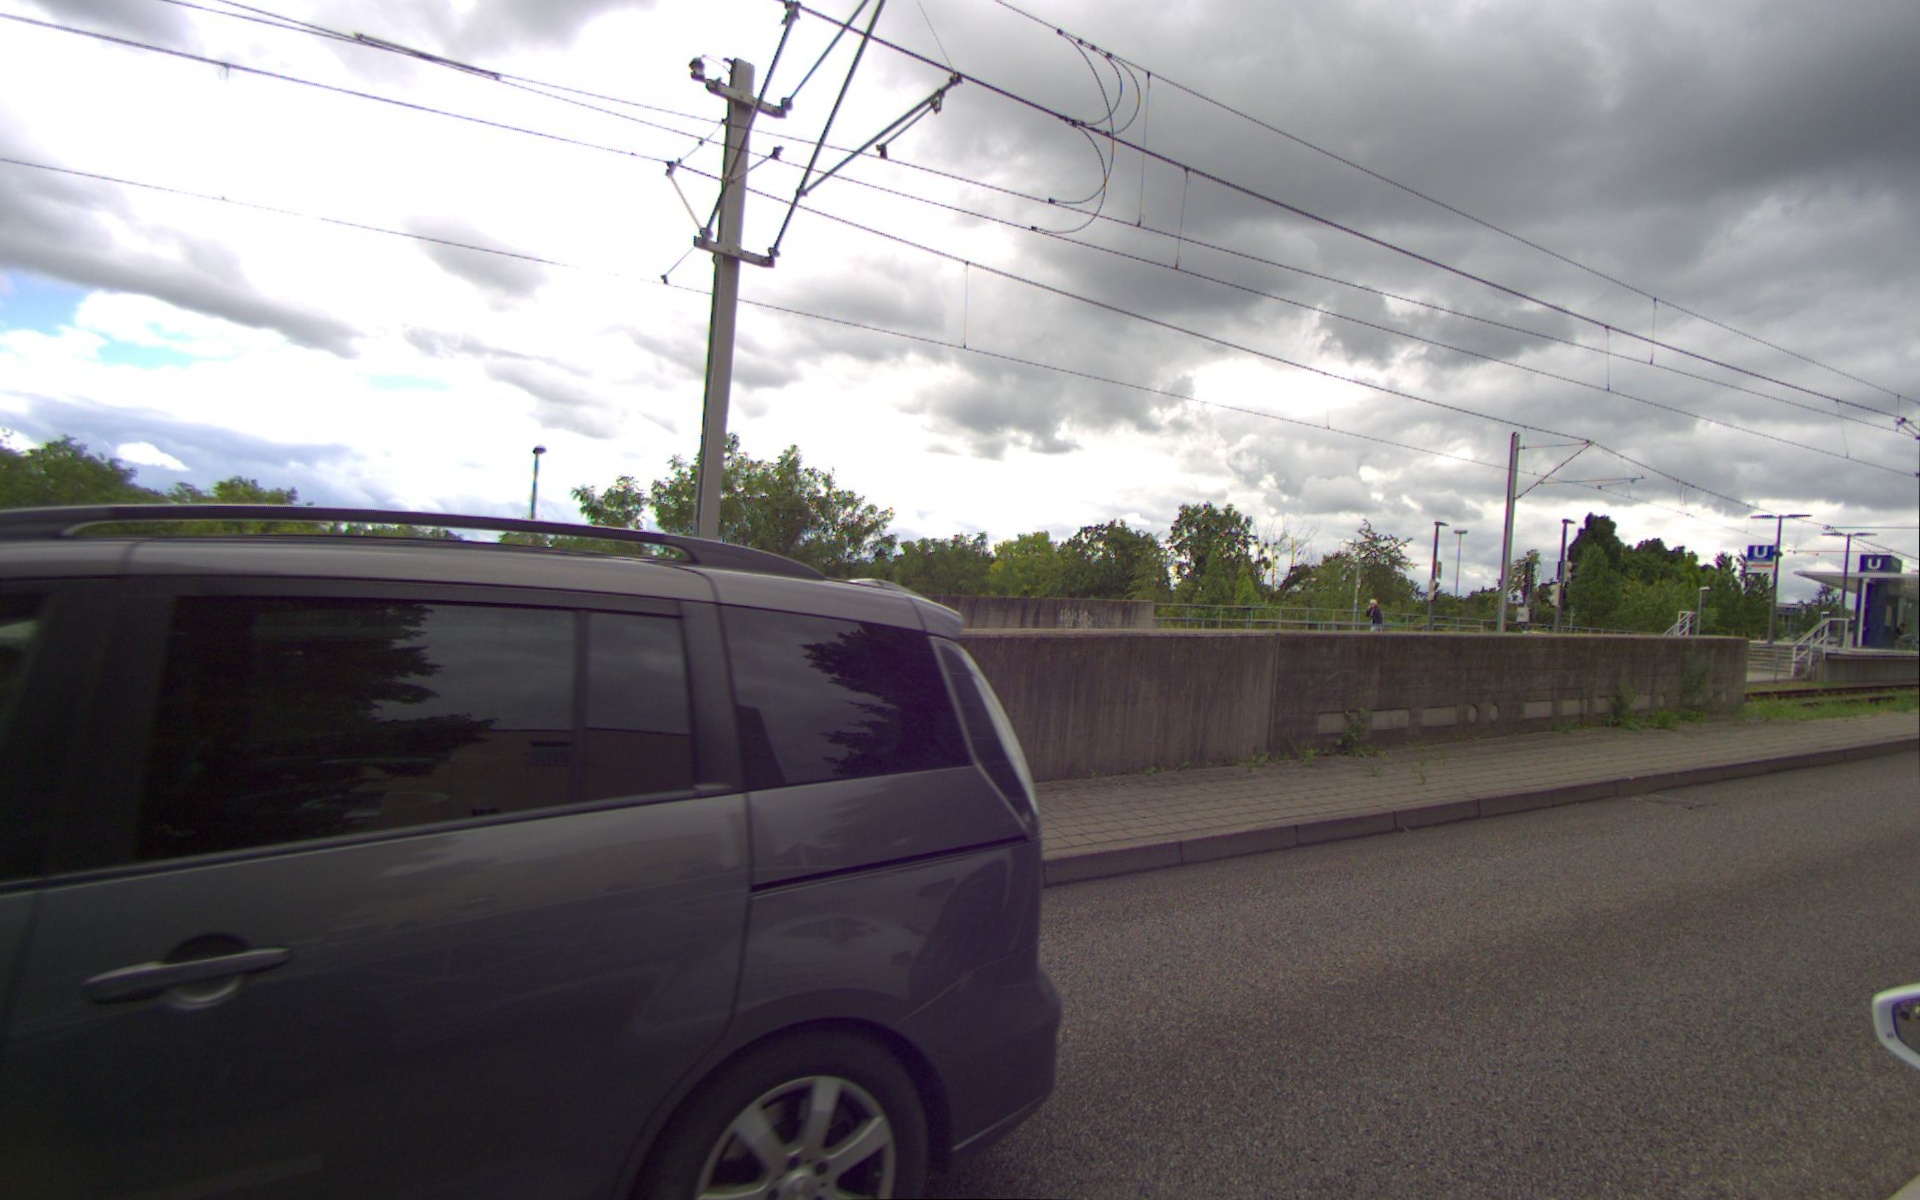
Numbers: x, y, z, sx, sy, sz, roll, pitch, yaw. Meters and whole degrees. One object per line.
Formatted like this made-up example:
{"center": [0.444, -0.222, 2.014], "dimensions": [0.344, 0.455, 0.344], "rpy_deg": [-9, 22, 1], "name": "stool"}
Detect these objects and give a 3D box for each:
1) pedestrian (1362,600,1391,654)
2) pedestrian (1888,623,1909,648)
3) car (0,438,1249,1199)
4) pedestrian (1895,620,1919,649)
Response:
{"center": [12.855, 0.840, 31.007], "dimensions": [0.638, 1.646, 0.505], "rpy_deg": [2, 0, -31], "name": "pedestrian"}
{"center": [41.150, 1.560, 44.039], "dimensions": [0.466, 1.093, 0.603], "rpy_deg": [2, 0, -36], "name": "pedestrian"}
{"center": [-1.499, 0.614, 2.352], "dimensions": [4.197, 1.679, 1.813], "rpy_deg": [1, 0, -31], "name": "car"}
{"center": [40.692, 1.477, 43.058], "dimensions": [0.659, 1.215, 0.756], "rpy_deg": [3, -1, -36], "name": "pedestrian"}
